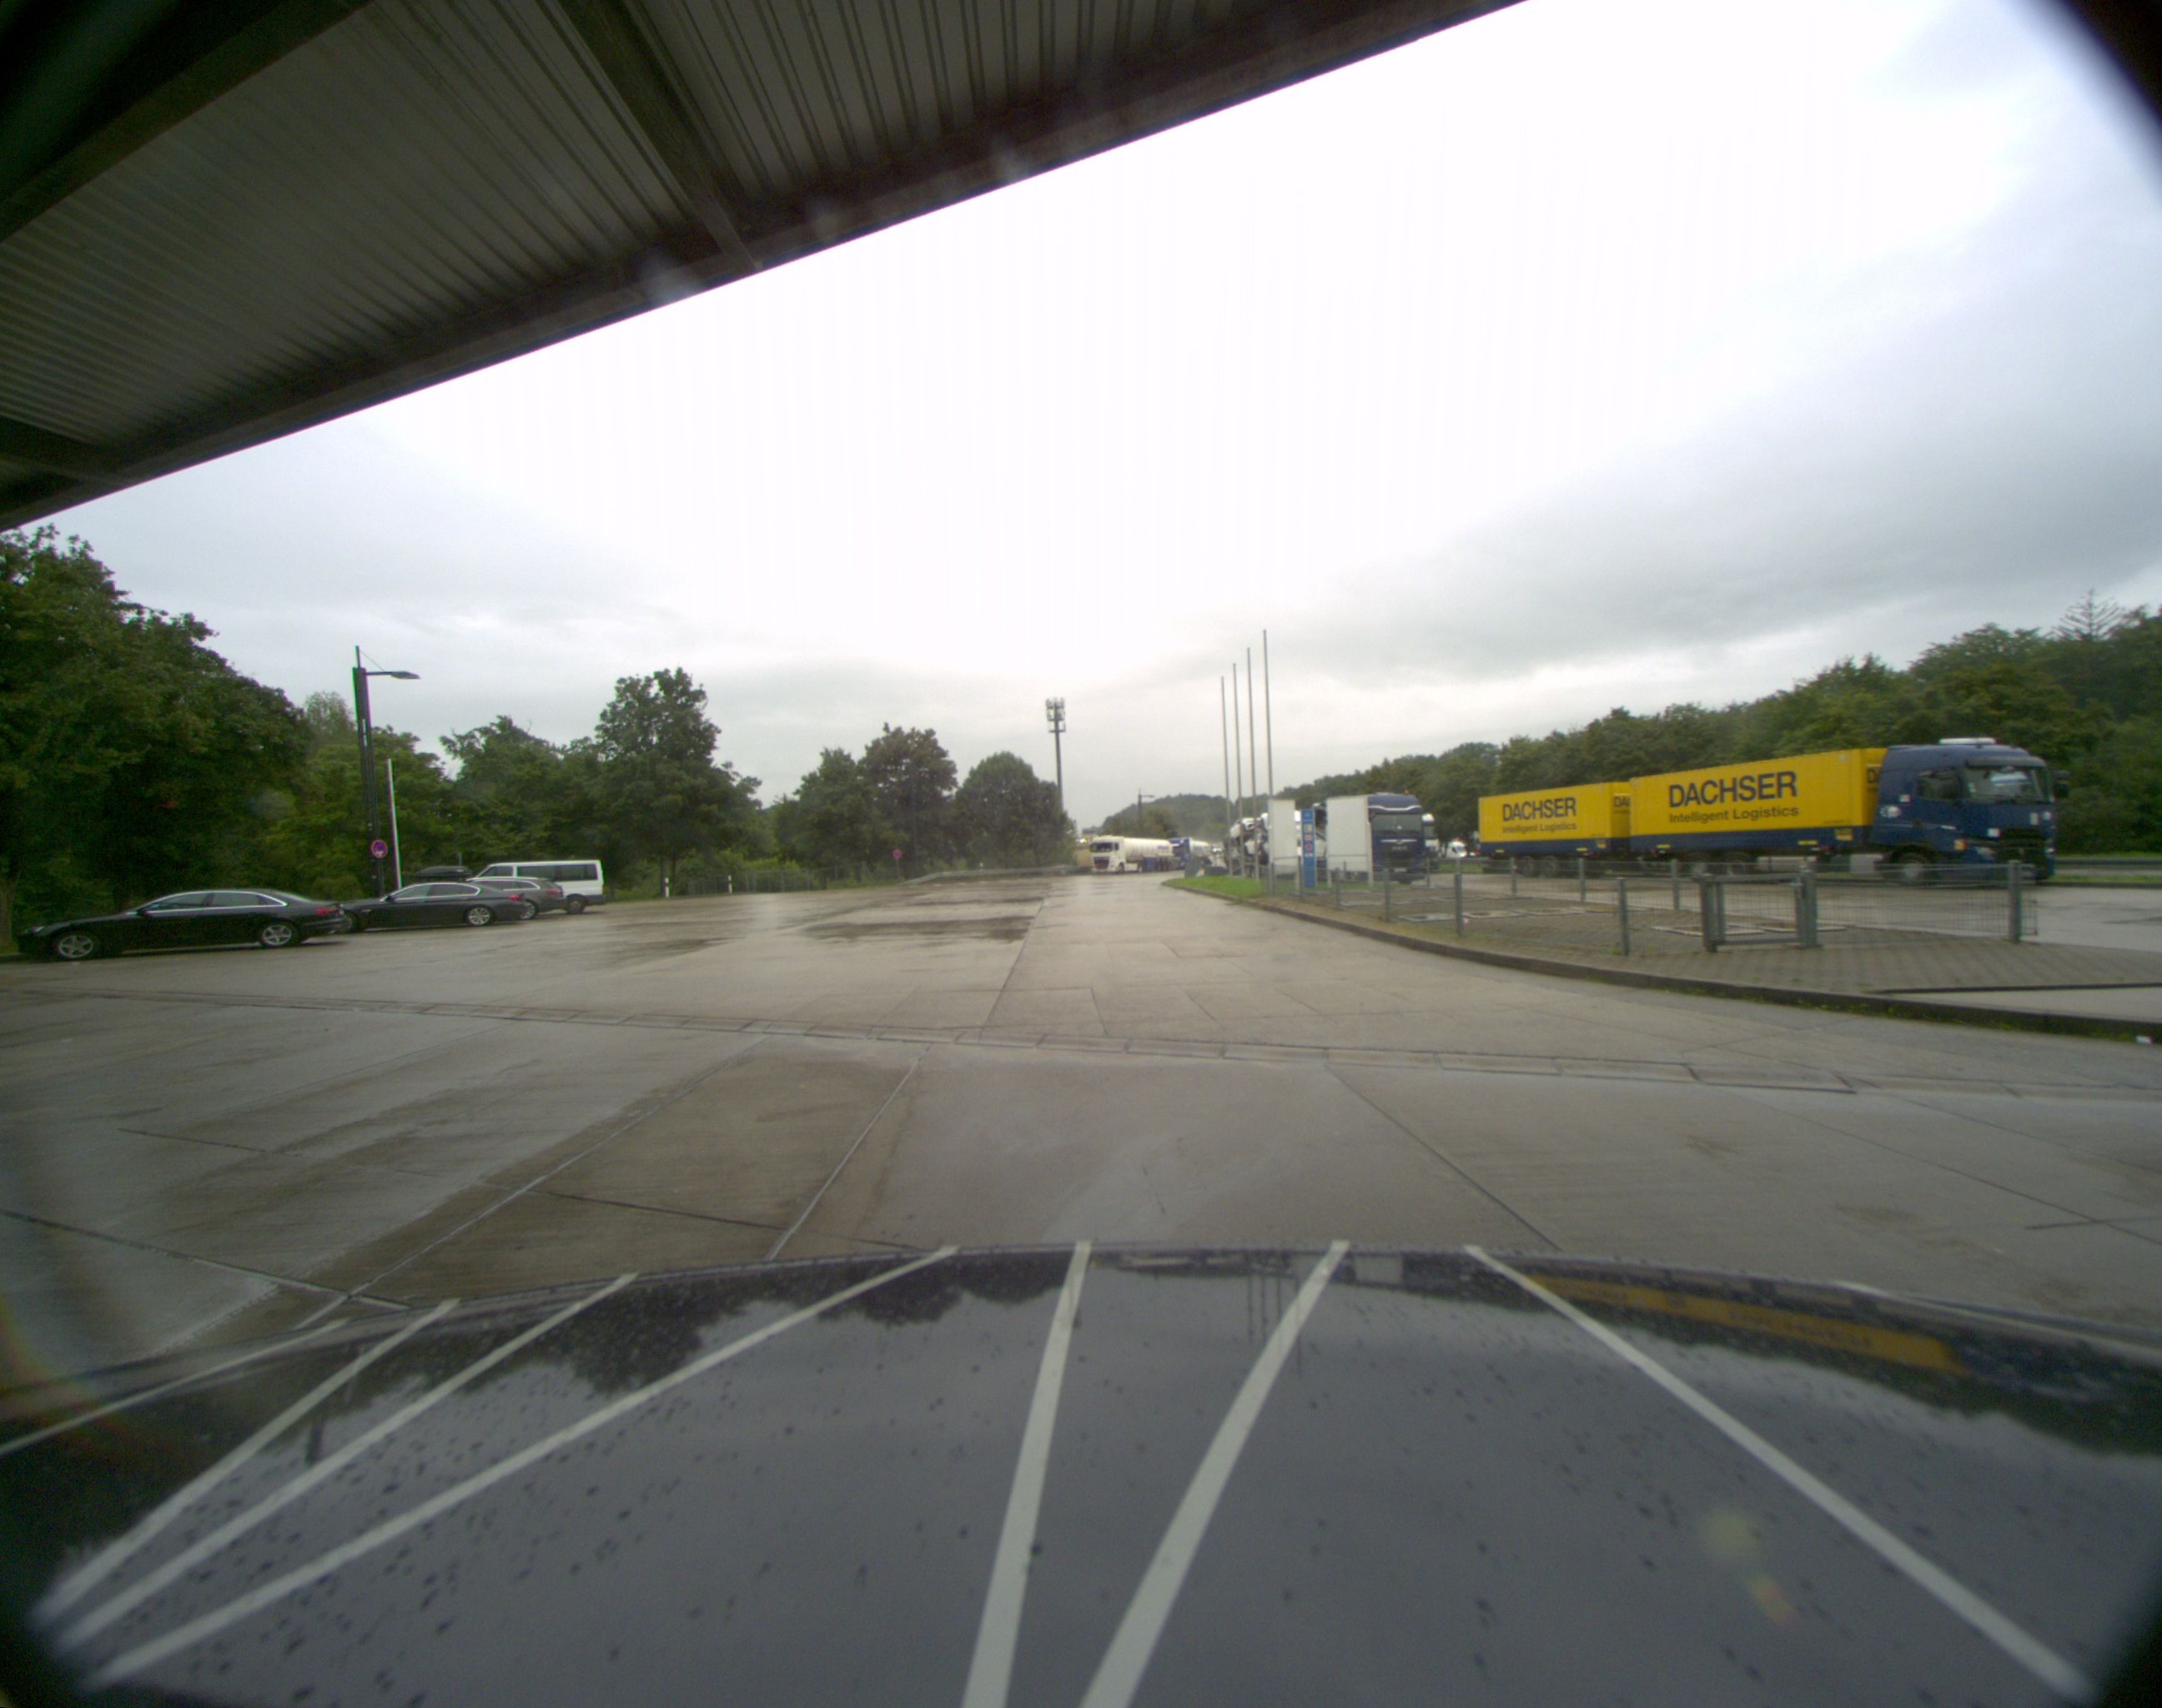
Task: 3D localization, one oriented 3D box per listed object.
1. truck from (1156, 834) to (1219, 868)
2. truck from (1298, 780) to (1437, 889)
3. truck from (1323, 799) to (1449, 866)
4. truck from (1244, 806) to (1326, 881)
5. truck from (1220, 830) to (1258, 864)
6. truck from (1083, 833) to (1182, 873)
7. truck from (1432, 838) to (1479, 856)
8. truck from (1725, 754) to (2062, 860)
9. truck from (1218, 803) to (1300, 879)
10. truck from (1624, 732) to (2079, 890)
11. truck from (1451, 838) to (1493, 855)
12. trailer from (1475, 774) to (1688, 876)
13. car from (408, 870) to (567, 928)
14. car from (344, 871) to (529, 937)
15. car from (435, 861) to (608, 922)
[{"bbox_3d":[12.785,-0.394,89.687,3.506,3.584,14.686,-2,0,23],"label":"truck"},{"bbox_3d":[12.189,-0.792,33.178,2.665,4.157,7.103,-2,0,-6],"label":"truck"},{"bbox_3d":[19.888,-1.293,50.567,2.757,3.894,10.678,-2,1,-8],"label":"truck"},{"bbox_3d":[11.052,-0.553,41.585,2.665,3.750,4.747,-2,1,-6],"label":"truck"},{"bbox_3d":[20.657,-0.894,100.144,3.143,4.105,11.523,-2,1,3],"label":"truck"},{"bbox_3d":[5.458,-0.152,75.206,3.505,3.584,14.426,-2,0,31],"label":"truck"},{"bbox_3d":[45.672,-0.844,92.931,2.082,2.112,5.827,-2,1,-10],"label":"truck"},{"bbox_3d":[33.916,-1.756,32.711,2.421,3.785,10.223,-2,1,-10],"label":"truck"},{"bbox_3d":[10.576,-0.721,45.776,2.665,4.157,6.618,-2,1,-6],"label":"truck"},{"bbox_3d":[23.159,-1.124,24.325,2.757,3.894,10.678,-2,1,-8],"label":"truck"},{"bbox_3d":[49.009,-0.929,95.281,2.000,2.002,4.929,-2,1,-11],"label":"truck"},{"bbox_3d":[21.797,-1.180,33.946,2.757,3.894,8.700,-2,1,-9],"label":"trailer"},{"bbox_3d":[-19.466,1.431,25.155,4.007,1.650,1.596,-2,0,-35],"label":"car"},{"bbox_3d":[-18.870,1.398,22.503,4.007,1.650,1.596,-2,0,-35],"label":"car"},{"bbox_3d":[-20.421,1.293,27.992,4.898,1.938,2.310,-2,0,-35],"label":"car"}]
